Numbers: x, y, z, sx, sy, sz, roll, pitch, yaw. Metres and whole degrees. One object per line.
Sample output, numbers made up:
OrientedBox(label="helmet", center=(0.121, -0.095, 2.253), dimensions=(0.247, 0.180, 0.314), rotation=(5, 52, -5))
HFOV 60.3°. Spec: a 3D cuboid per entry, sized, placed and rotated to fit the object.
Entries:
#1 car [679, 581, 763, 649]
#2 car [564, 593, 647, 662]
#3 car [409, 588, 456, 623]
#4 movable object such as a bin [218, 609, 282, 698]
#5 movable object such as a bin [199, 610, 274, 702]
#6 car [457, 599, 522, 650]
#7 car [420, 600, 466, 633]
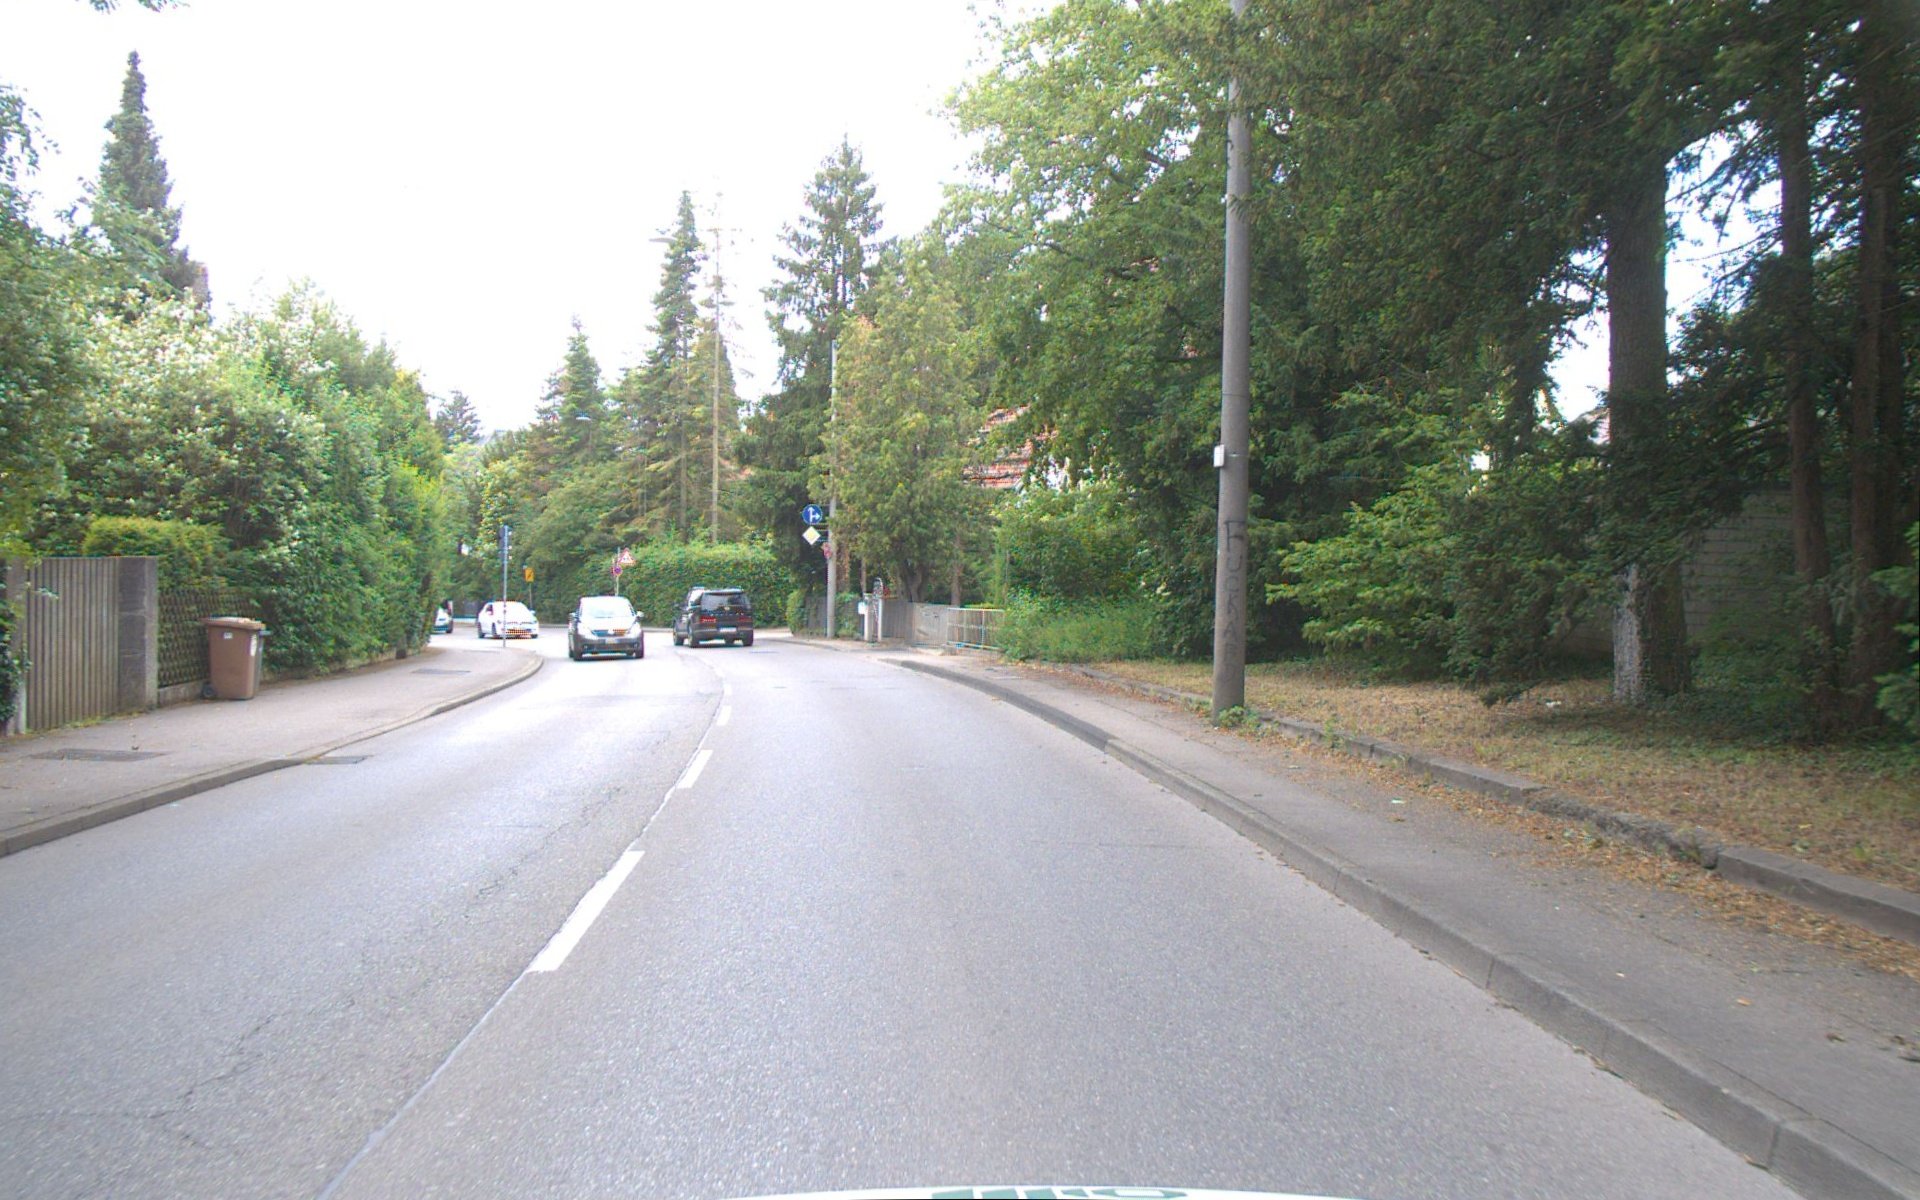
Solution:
OrientedBox(label="car", center=(-7.272, 0.417, 50.025), dimensions=(1.962, 1.914, 3.982), rotation=(1, 1, -17))
OrientedBox(label="car", center=(-9.091, 0.667, 42.366), dimensions=(1.959, 1.646, 3.987), rotation=(-1, 0, -13))
OrientedBox(label="car", center=(-27.405, 0.279, 85.919), dimensions=(1.869, 1.736, 3.969), rotation=(1, 0, -25))
OrientedBox(label="movable object such as a bin", center=(-9.701, 0.727, 22.610), dimensions=(0.617, 1.164, 0.645), rotation=(2, 0, -9))
OrientedBox(label="movable object such as a bin", center=(-9.551, 0.734, 21.855), dimensions=(0.727, 1.161, 0.645), rotation=(2, 0, -9))
OrientedBox(label="car", center=(-14.931, 0.745, 52.595), dimensions=(1.871, 1.479, 3.781), rotation=(-3, 1, -15))
OrientedBox(label="car", center=(-23.696, 0.721, 75.728), dimensions=(1.884, 1.422, 3.887), rotation=(-1, 0, -19))
